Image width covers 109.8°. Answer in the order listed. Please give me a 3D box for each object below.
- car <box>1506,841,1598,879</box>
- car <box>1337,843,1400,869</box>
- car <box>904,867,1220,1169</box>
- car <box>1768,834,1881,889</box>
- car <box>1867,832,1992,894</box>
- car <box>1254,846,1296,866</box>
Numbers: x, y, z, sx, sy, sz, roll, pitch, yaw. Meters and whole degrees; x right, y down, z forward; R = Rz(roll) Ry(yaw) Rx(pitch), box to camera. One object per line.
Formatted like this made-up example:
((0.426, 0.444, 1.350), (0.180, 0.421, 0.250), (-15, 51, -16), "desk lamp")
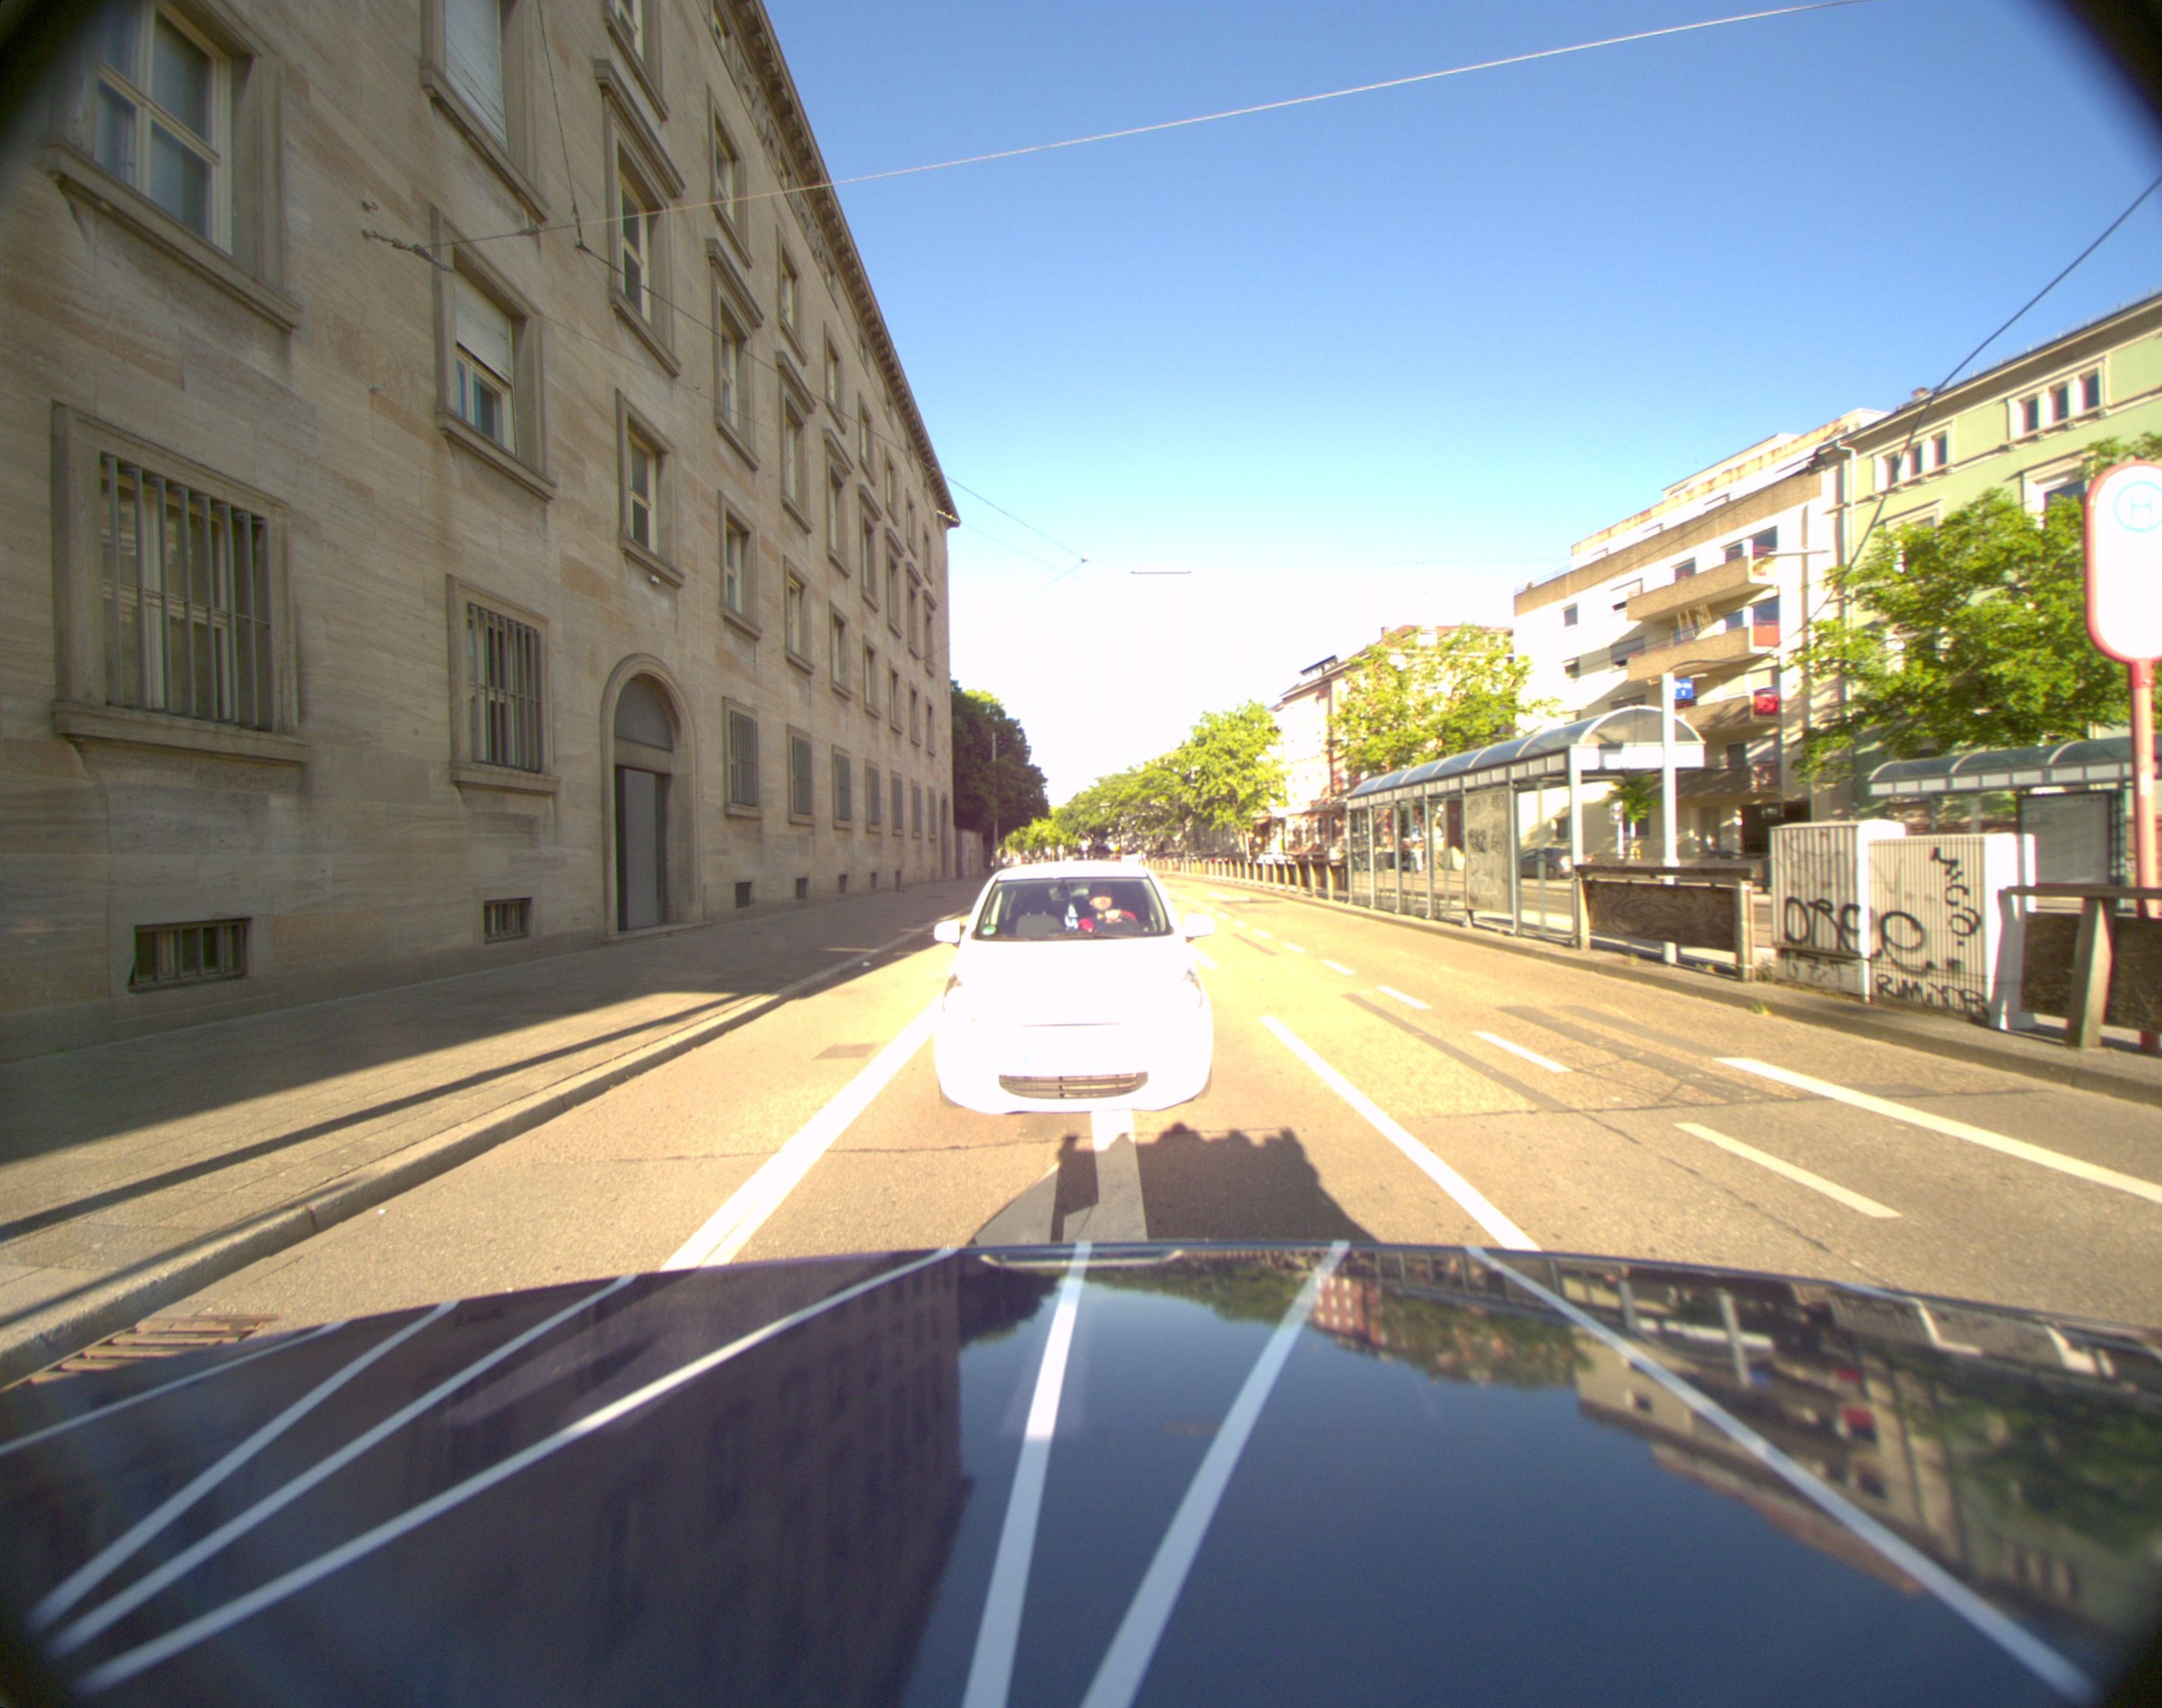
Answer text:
((20.916, 0.227, 33.935), (1.631, 1.558, 3.598), (-2, 1, -5), "car")
((19.545, 0.118, 51.725), (3.599, 1.558, 1.630), (-2, 1, -7), "car")
((-0.074, 0.899, 5.811), (1.612, 1.462, 3.631), (-2, 0, 1), "car")
((23.885, 0.221, 24.405), (3.605, 1.558, 1.627), (-3, 1, -29), "car")
((24.463, 0.227, 21.892), (3.605, 1.558, 1.627), (-3, 1, -29), "car")
((16.260, 0.149, 63.479), (3.607, 1.558, 1.627), (-3, 1, -42), "car")
